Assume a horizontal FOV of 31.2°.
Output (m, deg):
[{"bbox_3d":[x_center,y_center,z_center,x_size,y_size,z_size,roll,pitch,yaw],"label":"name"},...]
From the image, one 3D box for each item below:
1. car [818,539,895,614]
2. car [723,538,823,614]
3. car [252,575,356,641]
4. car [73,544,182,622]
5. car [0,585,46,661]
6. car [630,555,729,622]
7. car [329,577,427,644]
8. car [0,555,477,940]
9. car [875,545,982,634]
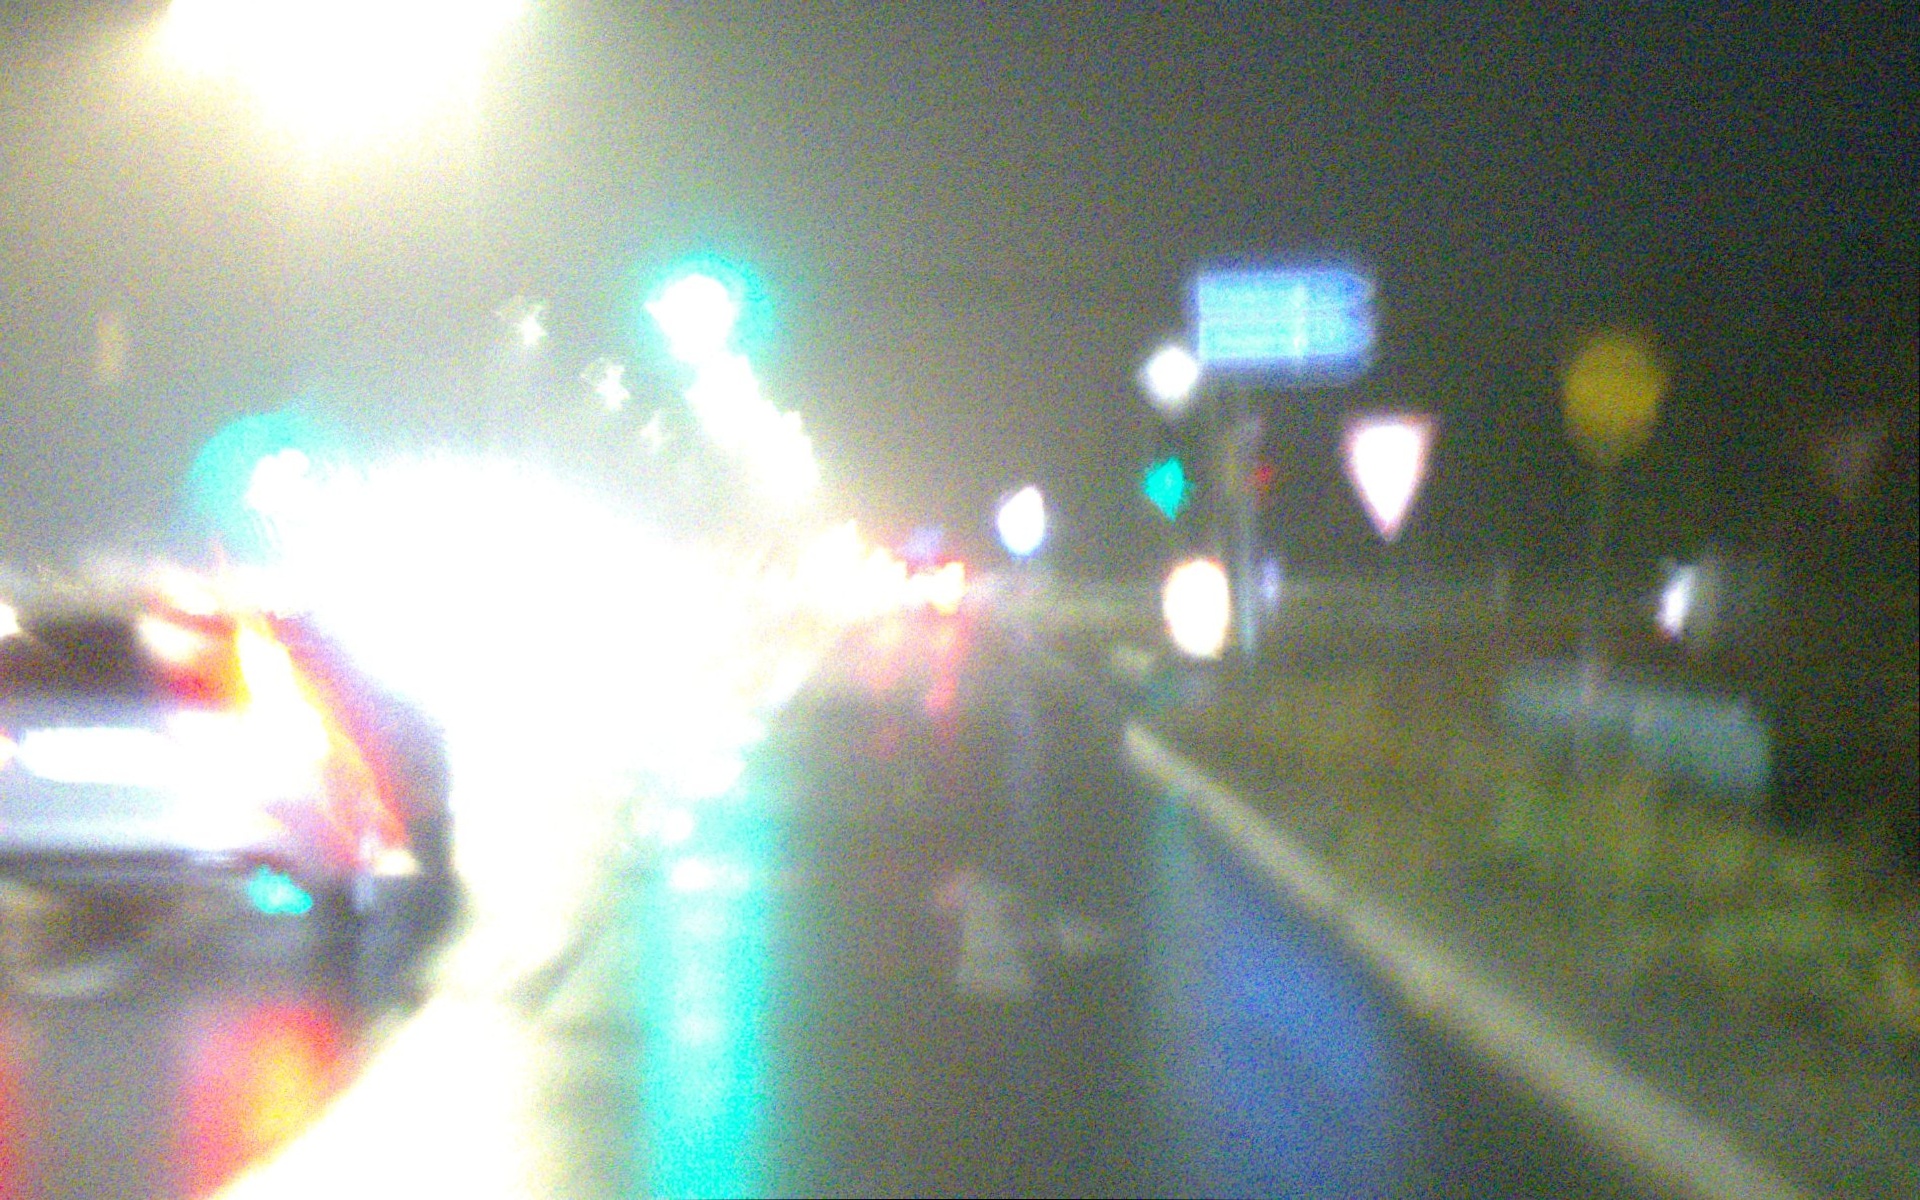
[{"bbox_3d":[-2.986,-0.660,99.751,1.993,1.832,3.999,5,-2,0],"label":"car"},{"bbox_3d":[-4.628,-0.567,85.665,2.177,1.596,4.000,4,-2,0],"label":"car"},{"bbox_3d":[-16.659,0.180,87.419,1.782,1.603,4.244,0,1,1],"label":"car"},{"bbox_3d":[-20.732,-0.440,85.751,1.762,1.886,4.206,0,1,-1],"label":"car"},{"bbox_3d":[-16.467,0.374,57.229,1.643,1.199,3.615,0,1,-2],"label":"car"},{"bbox_3d":[-7.908,-0.303,97.235,2.178,1.596,3.999,4,-2,3],"label":"car"},{"bbox_3d":[-12.964,0.226,76.778,1.589,1.422,3.350,0,1,1],"label":"car"},{"bbox_3d":[-3.327,0.529,15.133,1.796,1.447,4.269,0,1,0],"label":"car"},{"bbox_3d":[-0.629,-0.191,72.228,1.910,1.596,3.999,4,-2,3],"label":"car"}]
